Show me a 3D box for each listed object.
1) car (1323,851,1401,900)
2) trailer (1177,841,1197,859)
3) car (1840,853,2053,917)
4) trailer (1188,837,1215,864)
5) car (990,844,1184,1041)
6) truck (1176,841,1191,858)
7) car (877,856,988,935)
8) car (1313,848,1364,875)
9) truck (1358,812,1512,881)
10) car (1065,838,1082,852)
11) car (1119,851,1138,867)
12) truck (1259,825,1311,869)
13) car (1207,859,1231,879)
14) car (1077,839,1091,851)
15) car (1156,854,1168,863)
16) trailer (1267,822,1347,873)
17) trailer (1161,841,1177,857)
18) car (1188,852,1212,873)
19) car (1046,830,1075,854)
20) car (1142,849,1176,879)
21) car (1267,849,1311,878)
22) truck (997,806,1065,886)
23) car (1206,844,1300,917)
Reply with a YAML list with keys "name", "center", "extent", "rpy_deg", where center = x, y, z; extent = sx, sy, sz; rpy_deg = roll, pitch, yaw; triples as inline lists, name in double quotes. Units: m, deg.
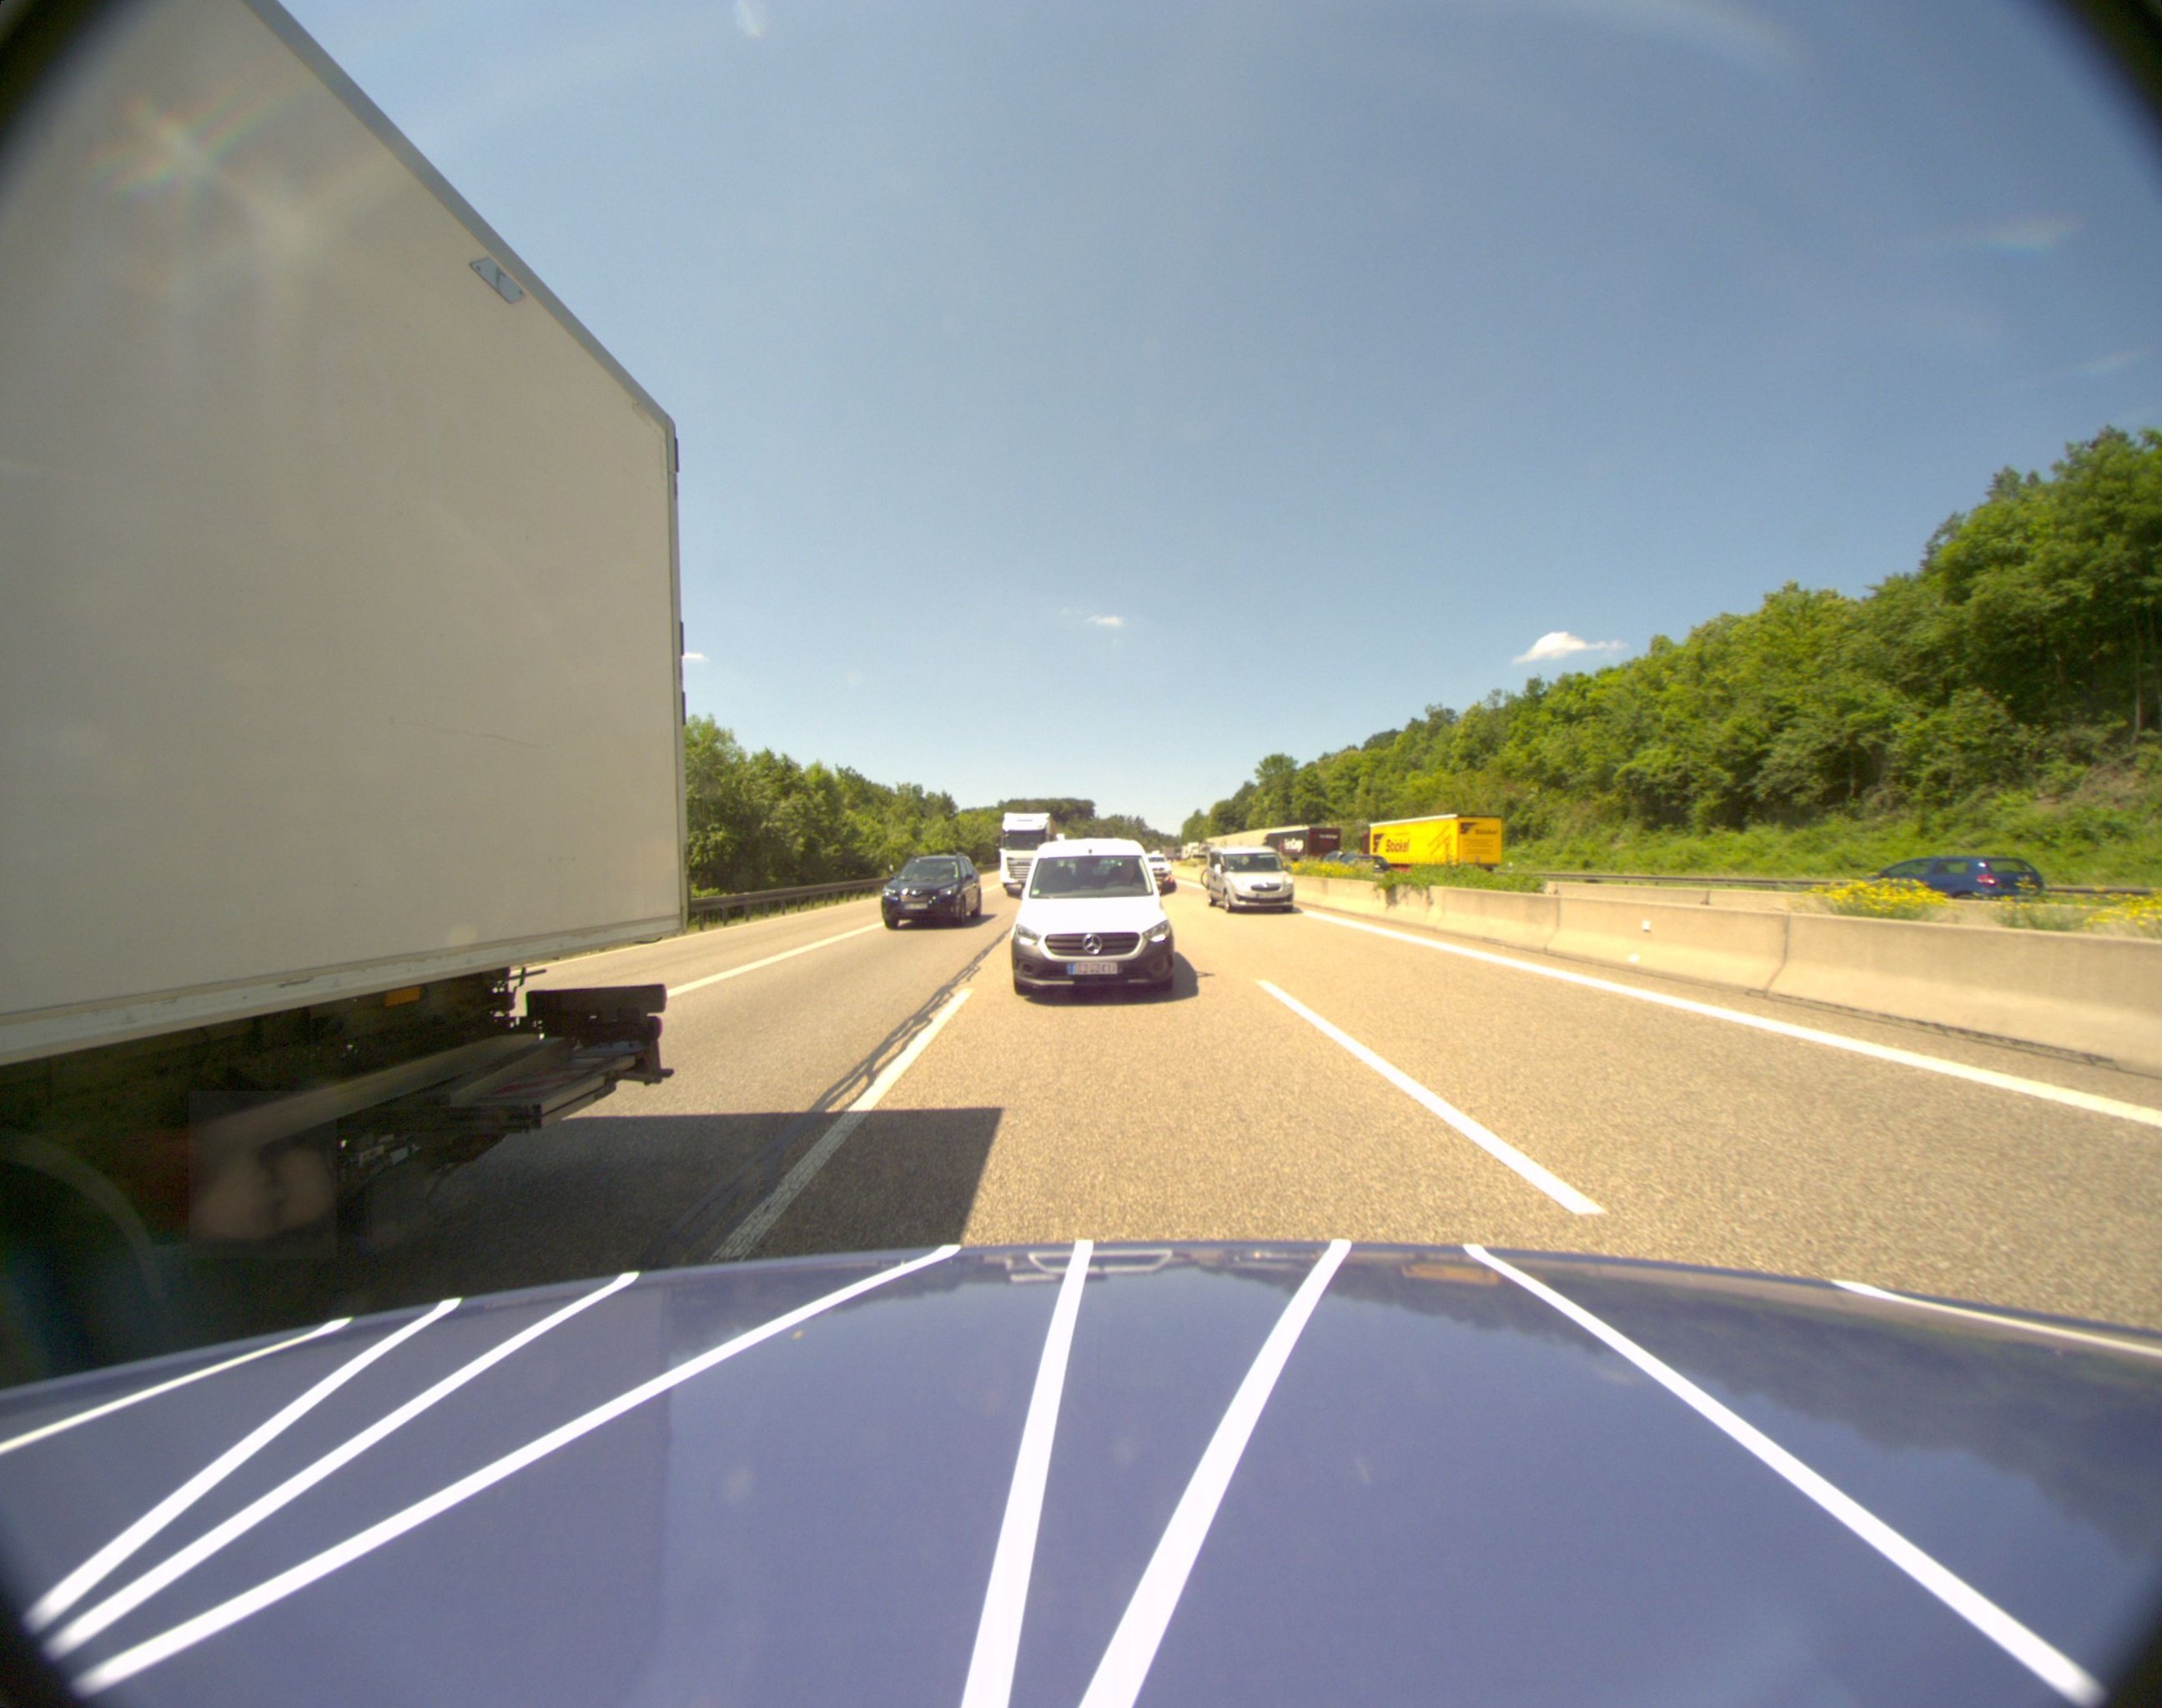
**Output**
- name: "car"
  center: [12.530, 0.907, 34.171]
  extent: [1.998, 2.002, 3.999]
  rpy_deg: [1, 1, 1]
- name: "trailer"
  center: [24.906, -1.016, 178.825]
  extent: [2.814, 4.024, 12.624]
  rpy_deg: [1, 1, 0]
- name: "car"
  center: [22.550, 0.730, 20.016]
  extent: [1.413, 1.499, 3.707]
  rpy_deg: [-1, 0, 1]
- name: "trailer"
  center: [20.900, -0.681, 132.495]
  extent: [2.810, 4.313, 14.035]
  rpy_deg: [1, 1, 1]
- name: "car"
  center: [0.128, 0.800, 9.048]
  extent: [1.729, 1.760, 4.313]
  rpy_deg: [-1, 0, 2]
- name: "truck"
  center: [25.004, -1.195, 184.966]
  extent: [2.814, 4.024, 5.083]
  rpy_deg: [1, 1, 0]
- name: "car"
  center: [-3.550, 0.927, 18.903]
  extent: [1.816, 1.658, 4.203]
  rpy_deg: [-1, 0, 1]
- name: "car"
  center: [15.889, 0.409, 47.142]
  extent: [1.689, 1.549, 4.421]
  rpy_deg: [1, 1, 1]
- name: "truck"
  center: [23.342, -0.572, 51.879]
  extent: [3.045, 3.960, 16.263]
  rpy_deg: [0, 1, 1]
- name: "car"
  center: [-1.384, -1.669, 138.715]
  extent: [2.721, 2.534, 5.941]
  rpy_deg: [1, 1, 3]
- name: "car"
  center: [5.672, 0.558, 90.816]
  extent: [1.998, 1.783, 4.000]
  rpy_deg: [-2, 0, 0]
- name: "truck"
  center: [19.770, -0.703, 74.124]
  extent: [2.913, 3.951, 7.768]
  rpy_deg: [1, 1, 0]
- name: "car"
  center: [15.675, 1.694, 86.633]
  extent: [1.998, 2.002, 3.999]
  rpy_deg: [1, 1, 1]
- name: "car"
  center: [0.710, -2.118, 176.656]
  extent: [2.721, 2.534, 5.941]
  rpy_deg: [1, 1, 3]
- name: "car"
  center: [13.542, 0.743, 127.517]
  extent: [1.567, 1.510, 4.000]
  rpy_deg: [0, 0, 0]
- name: "trailer"
  center: [19.670, -0.611, 67.367]
  extent: [2.913, 3.951, 13.886]
  rpy_deg: [1, 1, 1]
- name: "trailer"
  center: [23.557, -1.342, 203.382]
  extent: [2.842, 4.141, 14.737]
  rpy_deg: [1, 1, 2]
- name: "car"
  center: [12.750, 0.905, 81.899]
  extent: [1.884, 2.002, 4.468]
  rpy_deg: [2, 1, 1]
- name: "car"
  center: [-2.241, -1.353, 85.376]
  extent: [2.721, 2.534, 5.941]
  rpy_deg: [1, 1, 3]
- name: "car"
  center: [5.044, 0.613, 49.722]
  extent: [1.998, 1.827, 4.001]
  rpy_deg: [1, 1, 3]
- name: "car"
  center: [12.248, 0.532, 44.848]
  extent: [1.646, 1.618, 3.543]
  rpy_deg: [1, 1, 1]
- name: "truck"
  center: [-2.790, -0.459, 47.740]
  extent: [2.790, 4.145, 16.267]
  rpy_deg: [-1, 0, 1]
- name: "car"
  center: [4.693, 0.663, 21.295]
  extent: [1.780, 1.833, 4.000]
  rpy_deg: [0, 0, 1]
